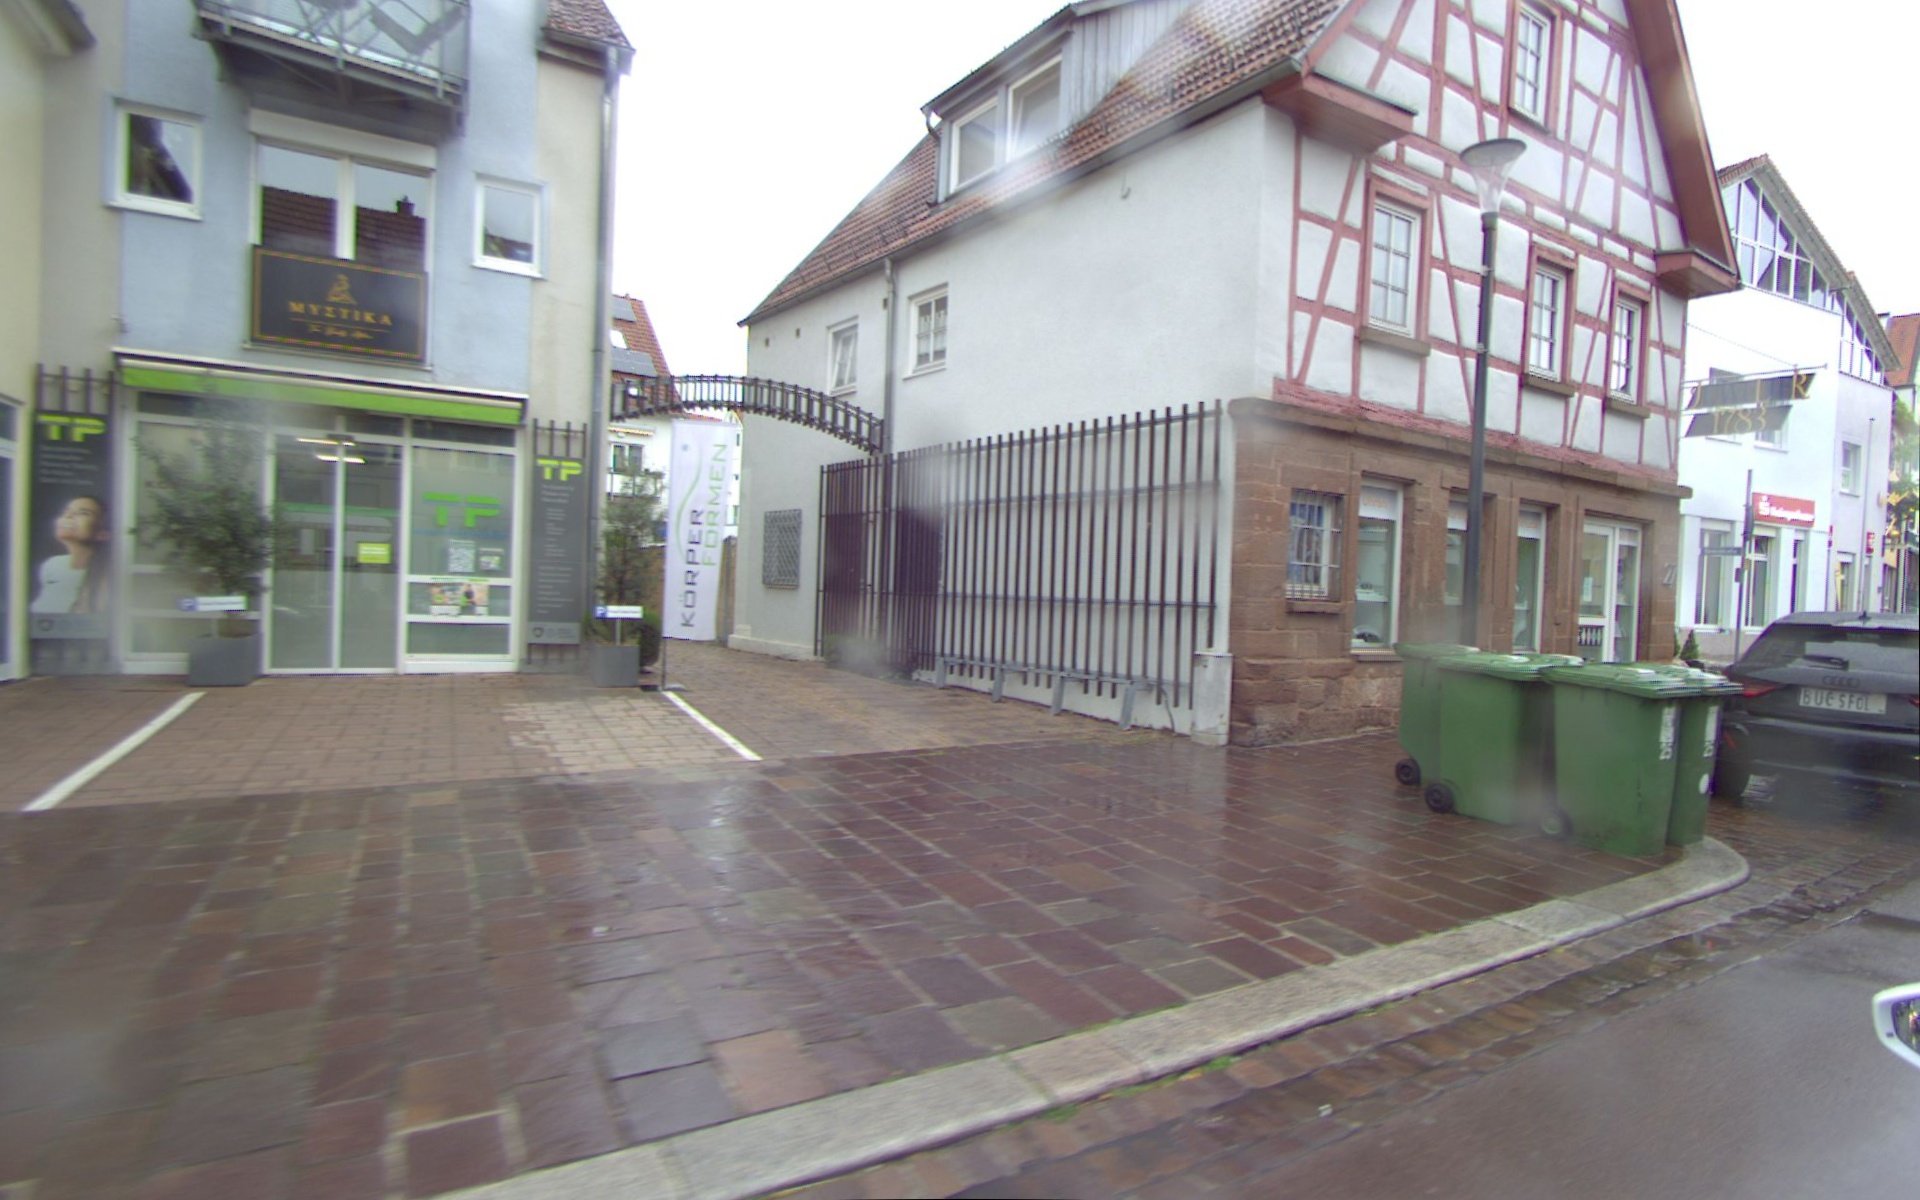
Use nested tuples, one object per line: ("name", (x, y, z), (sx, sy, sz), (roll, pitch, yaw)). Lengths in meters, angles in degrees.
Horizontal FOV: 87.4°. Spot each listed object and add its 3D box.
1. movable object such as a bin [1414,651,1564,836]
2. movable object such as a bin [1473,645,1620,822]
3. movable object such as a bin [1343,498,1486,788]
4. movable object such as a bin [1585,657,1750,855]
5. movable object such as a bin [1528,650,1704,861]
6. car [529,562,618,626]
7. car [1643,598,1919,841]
("movable object such as a bin", (3.514, 0.913, 6.679), (0.726, 1.066, 0.626), (-2, 3, -35))
("movable object such as a bin", (4.154, 0.910, 7.121), (0.726, 1.137, 0.626), (2, 0, -35))
("movable object such as a bin", (3.400, 0.310, 7.517), (0.739, 2.040, 0.626), (2, 0, -35))
("movable object such as a bin", (4.528, 0.953, 6.430), (0.726, 1.137, 0.626), (2, 0, -35))
("movable object such as a bin", (3.919, 0.885, 6.008), (0.726, 1.128, 0.626), (2, 0, -35))
("car", (-10.729, -0.172, 27.725), (1.769, 1.572, 3.970), (2, 0, -28))
("car", (7.420, 0.802, 8.255), (3.968, 1.514, 1.976), (1, 2, -41))
